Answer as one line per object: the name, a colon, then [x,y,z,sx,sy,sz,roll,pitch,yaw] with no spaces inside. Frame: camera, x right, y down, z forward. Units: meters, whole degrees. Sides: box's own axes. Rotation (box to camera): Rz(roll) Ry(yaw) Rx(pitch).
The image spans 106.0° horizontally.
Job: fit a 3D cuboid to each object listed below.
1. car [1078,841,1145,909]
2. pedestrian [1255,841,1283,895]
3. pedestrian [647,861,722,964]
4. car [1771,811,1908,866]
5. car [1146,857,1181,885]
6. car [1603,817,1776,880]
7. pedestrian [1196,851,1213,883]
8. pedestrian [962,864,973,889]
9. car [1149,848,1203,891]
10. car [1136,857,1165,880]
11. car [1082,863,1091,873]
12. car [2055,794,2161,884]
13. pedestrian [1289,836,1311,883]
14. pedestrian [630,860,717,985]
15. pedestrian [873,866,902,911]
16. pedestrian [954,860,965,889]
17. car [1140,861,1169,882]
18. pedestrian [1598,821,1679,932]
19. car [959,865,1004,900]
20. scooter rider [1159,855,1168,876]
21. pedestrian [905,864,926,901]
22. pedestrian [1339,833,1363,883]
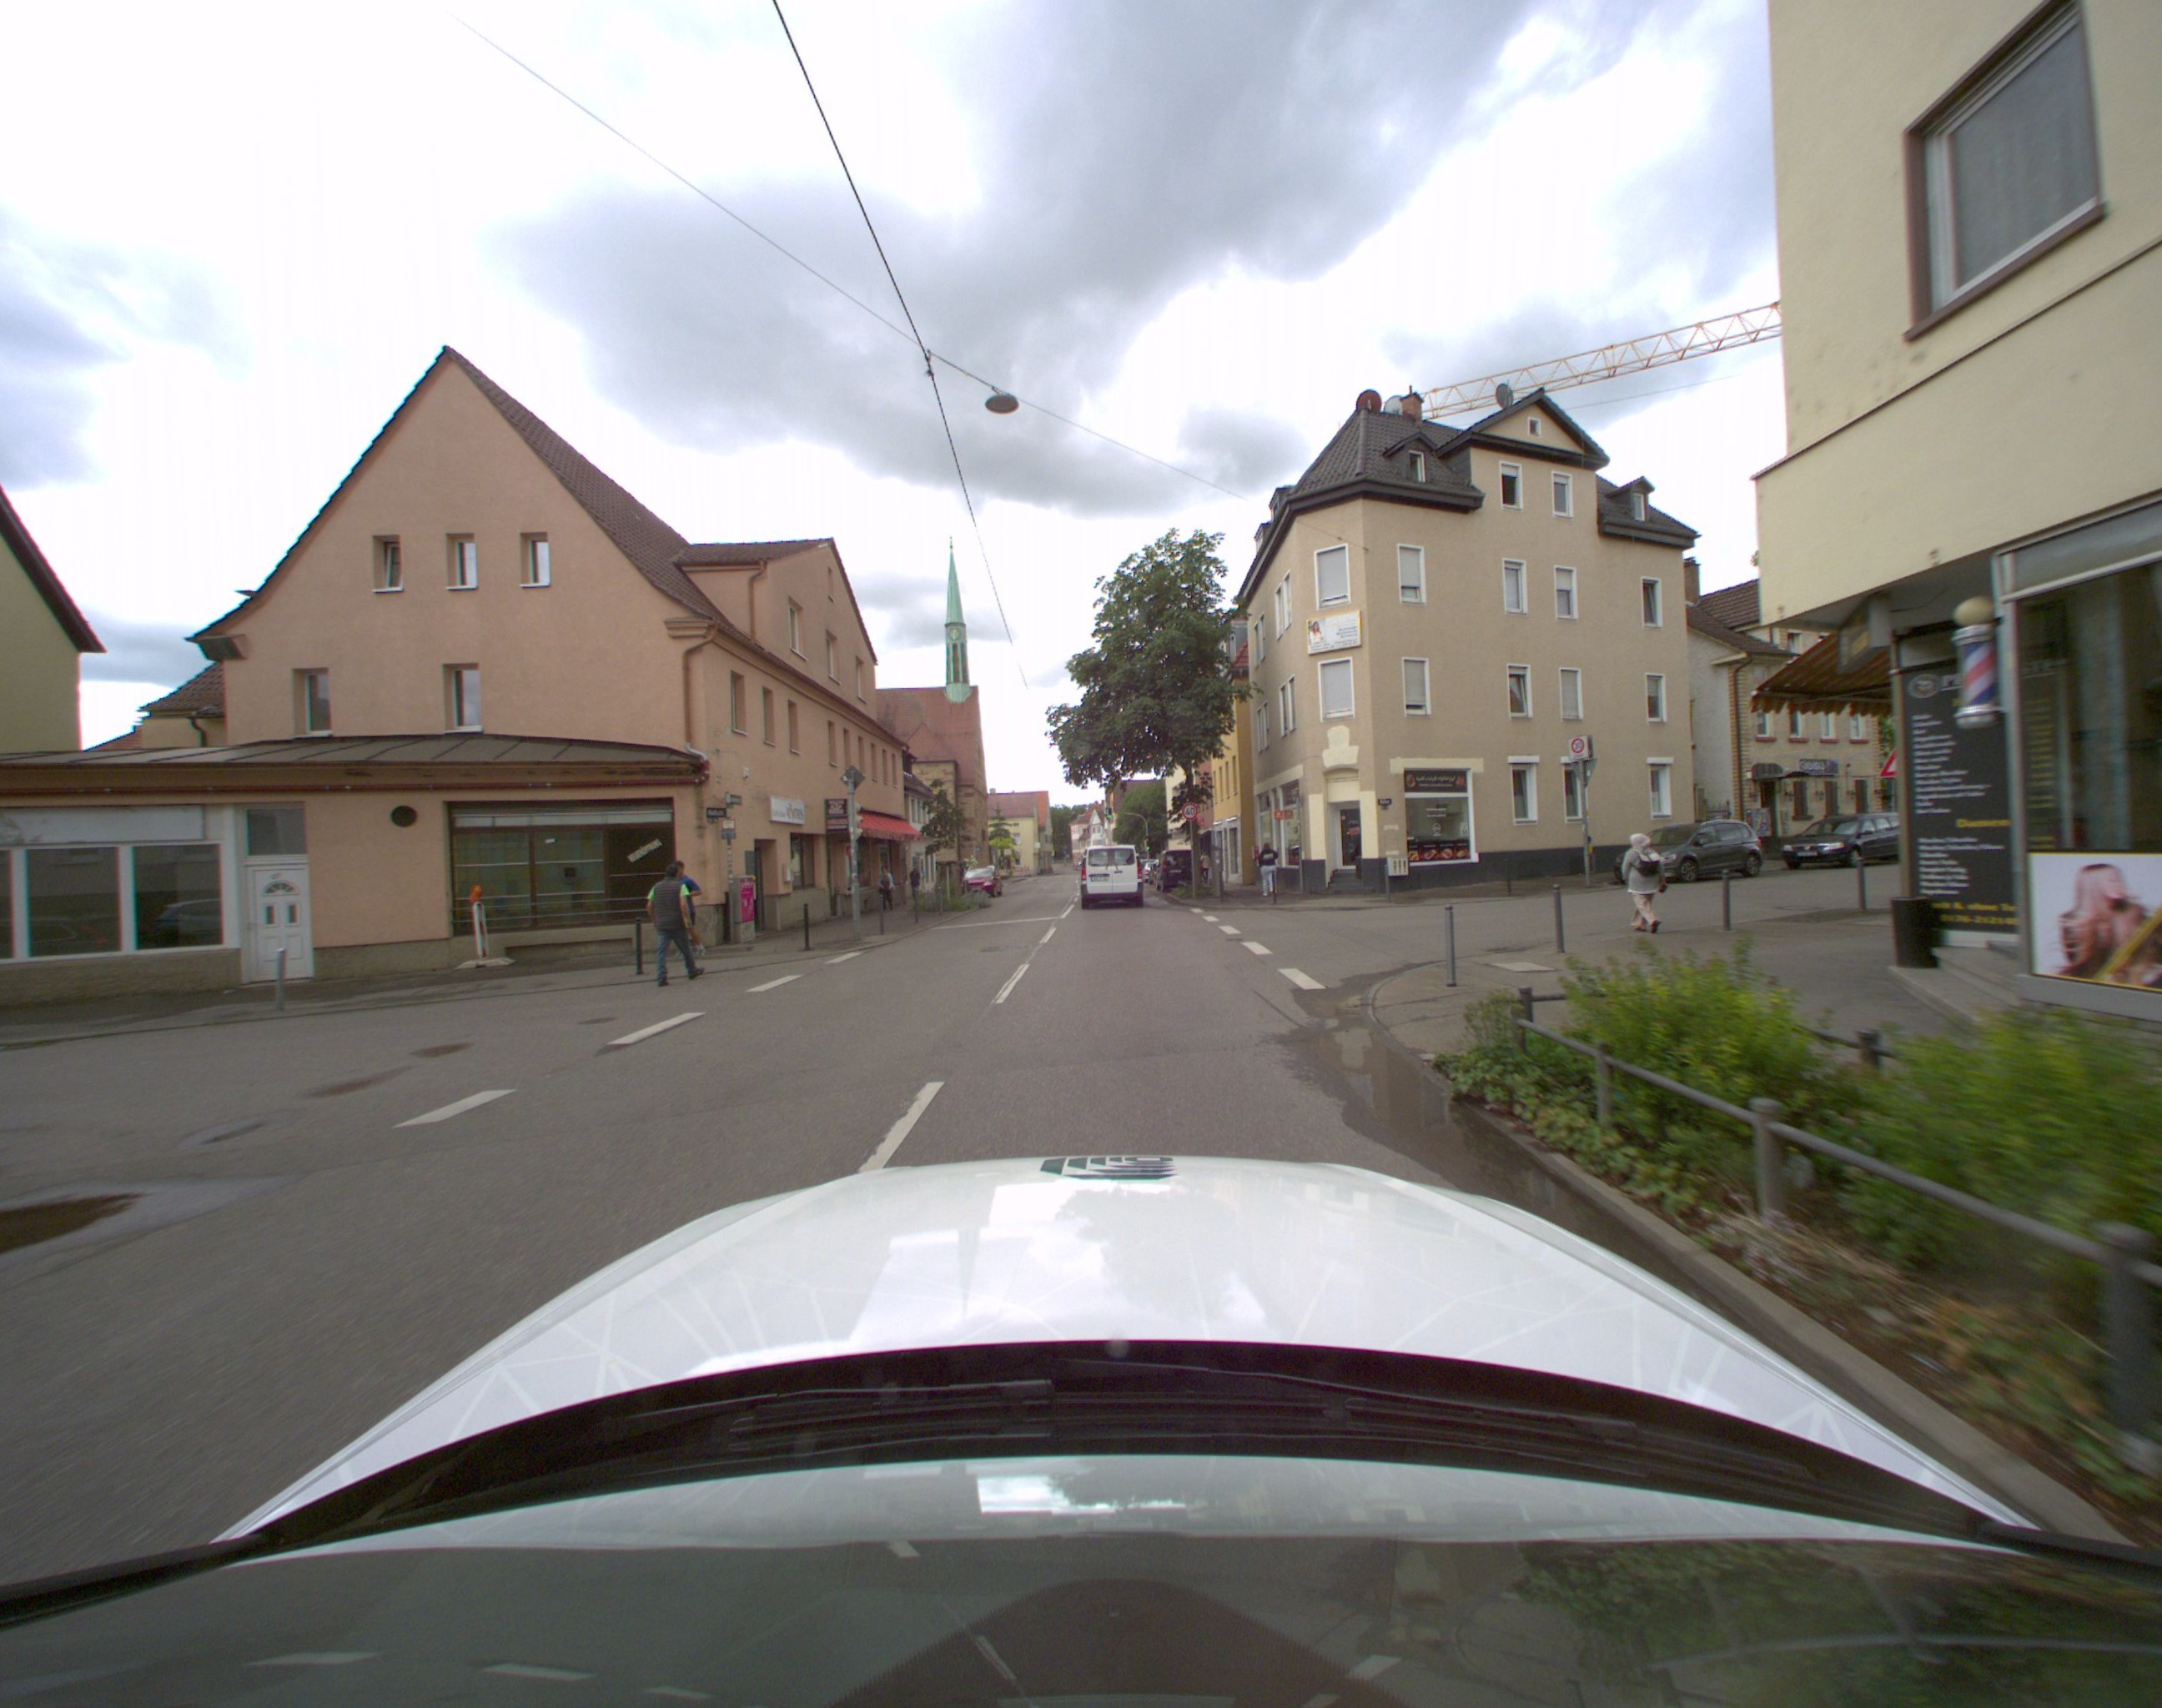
car: [0.944,0.619,25.640,1.866,1.912,4.001,-2,-1,1]
pedestrian: [5.889,0.434,25.545,0.612,1.653,0.982,-2,0,0]
pedestrian: [-7.017,1.003,14.477,0.736,1.718,1.156,-2,0,-2]
car: [24.092,-0.477,25.857,4.239,1.621,1.649,-1,-1,-24]
car: [4.984,1.004,49.385,1.597,1.518,4.207,-3,-1,-1]
car: [17.023,-0.150,22.796,4.234,1.621,1.873,-1,-1,-21]
pedestrian: [6.573,0.666,43.483,0.699,1.649,0.888,-3,0,0]
pedestrian: [-7.134,1.417,51.373,0.569,1.554,0.697,-1,-1,1]
car: [4.305,0.697,37.478,1.814,1.781,4.401,-2,-1,-1]
car: [5.027,1.075,59.398,1.706,1.560,3.784,-2,-1,-1]
car: [1.258,3.098,181.904,1.929,2.014,3.998,-1,-1,-1]
car: [22.458,-0.375,16.810,4.235,1.681,1.763,-3,2,-21]
pedestrian: [7.470,0.186,27.842,0.565,1.560,0.556,-1,-1,1]
pedestrian: [-5.996,0.973,12.034,0.736,1.754,0.982,-2,-1,0]
pedestrian: [-6.821,1.198,28.706,0.736,1.535,0.982,-2,0,-1]
pedestrian: [-7.775,1.303,52.058,0.569,1.848,0.697,1,-1,1]
car: [4.895,1.148,54.742,1.546,1.333,3.811,-2,-1,-1]
pedestrian: [8.793,0.348,12.857,0.679,1.664,0.792,-2,-1,-35]
car: [-5.146,1.465,42.713,1.697,1.574,4.450,-4,0,0]
scooter rider: [6.611,0.946,65.027,0.453,1.632,0.502,-4,-2,-14]
pedestrian: [-7.574,1.289,37.343,0.733,1.628,0.752,-2,-1,-24]
pedestrian: [8.555,0.122,25.799,0.565,1.560,0.521,-1,-1,1]
